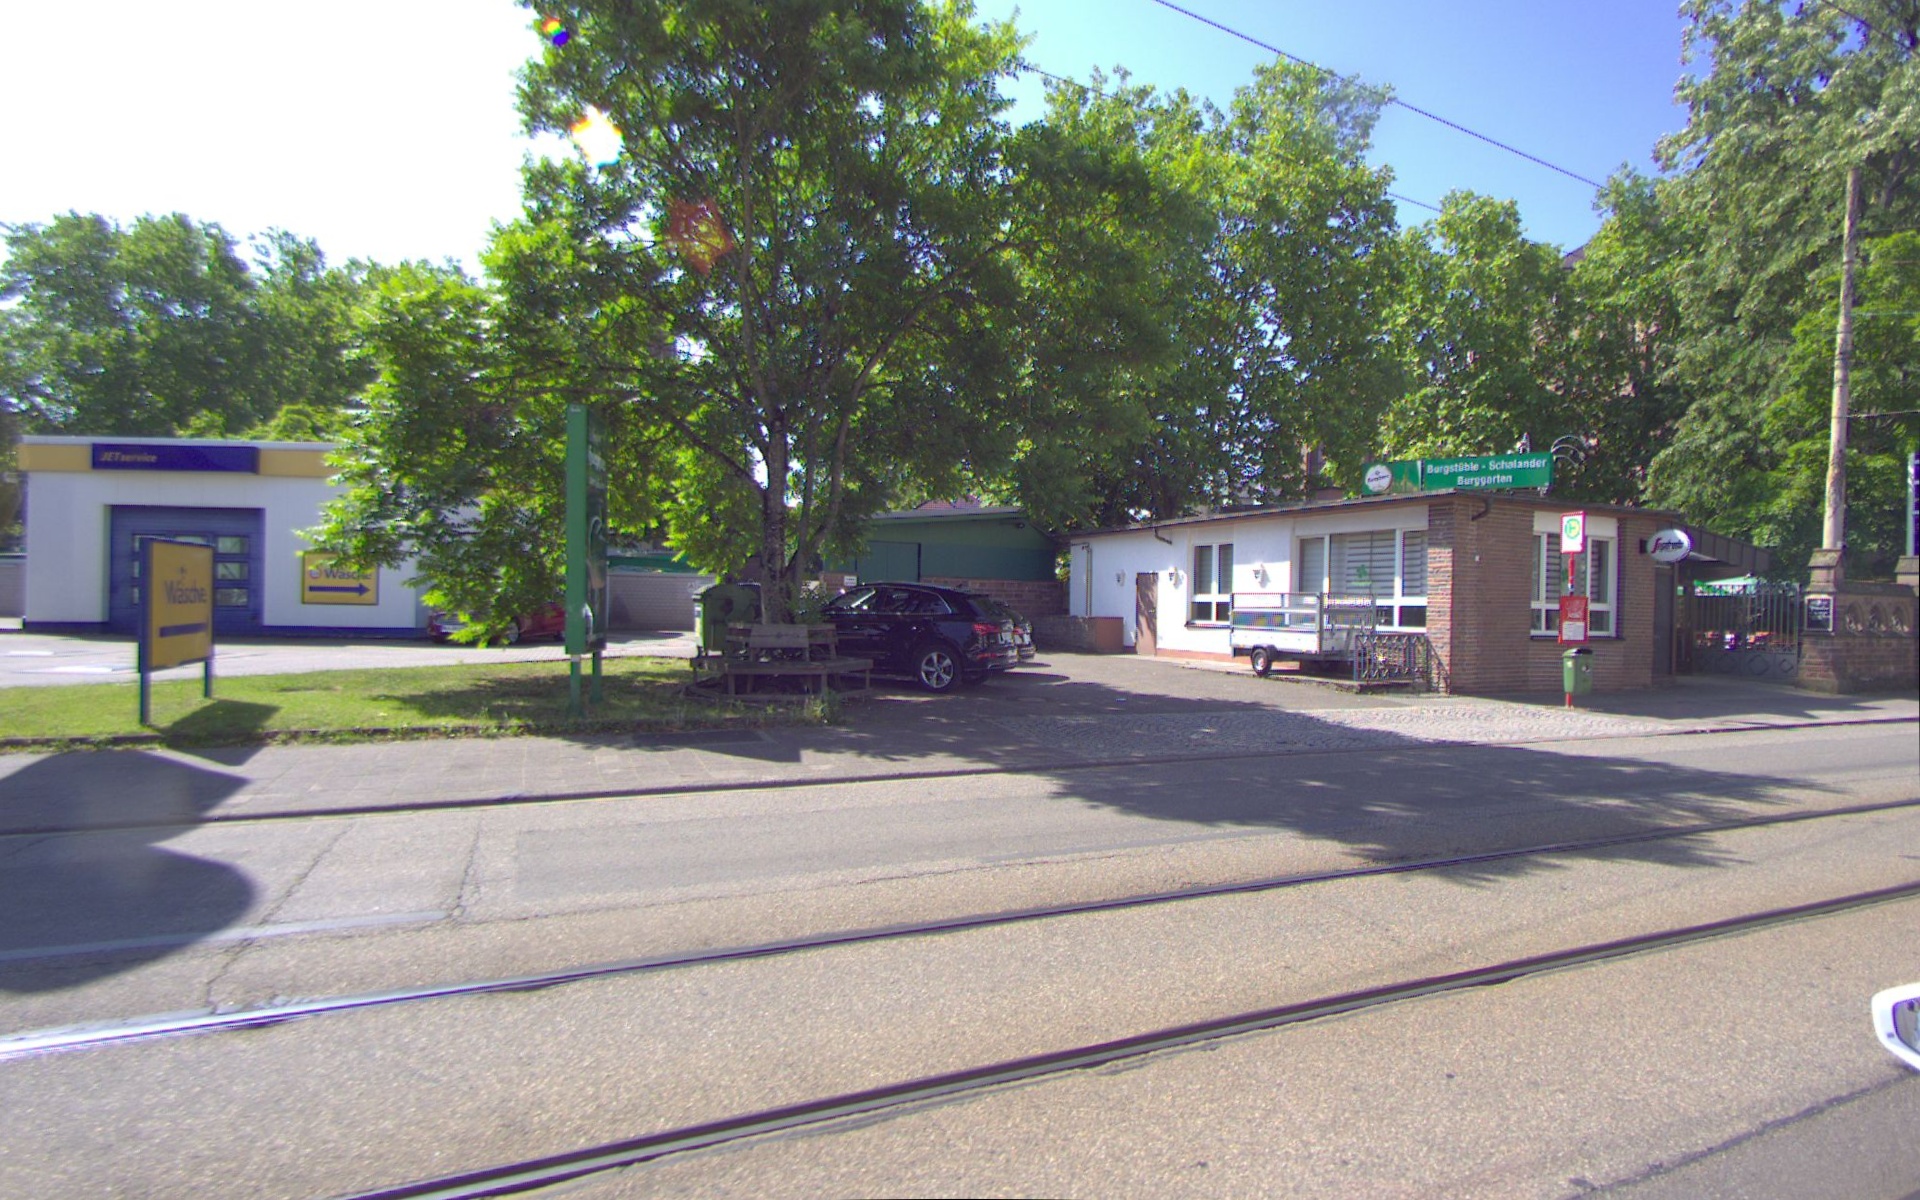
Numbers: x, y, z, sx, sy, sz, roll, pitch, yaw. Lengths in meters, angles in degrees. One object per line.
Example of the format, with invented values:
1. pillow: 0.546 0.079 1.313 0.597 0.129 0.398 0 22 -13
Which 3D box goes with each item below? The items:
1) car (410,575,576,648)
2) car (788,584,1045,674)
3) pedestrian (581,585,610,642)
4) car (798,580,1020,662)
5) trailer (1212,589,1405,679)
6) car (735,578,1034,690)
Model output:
1. car: -10.980 0.246 23.984 1.899 1.547 4.172 2 0 1
2. car: -0.812 0.507 19.159 4.488 1.487 1.949 1 0 20
3. pedestrian: -9.674 0.357 26.666 0.629 1.488 0.677 1 0 -16
4. car: -1.107 0.419 22.251 4.489 1.604 1.949 1 0 21
5. trailer: 6.499 0.581 19.036 1.753 1.546 3.207 1 0 -23
6. car: -1.222 0.498 16.500 4.488 1.647 1.949 1 0 20
